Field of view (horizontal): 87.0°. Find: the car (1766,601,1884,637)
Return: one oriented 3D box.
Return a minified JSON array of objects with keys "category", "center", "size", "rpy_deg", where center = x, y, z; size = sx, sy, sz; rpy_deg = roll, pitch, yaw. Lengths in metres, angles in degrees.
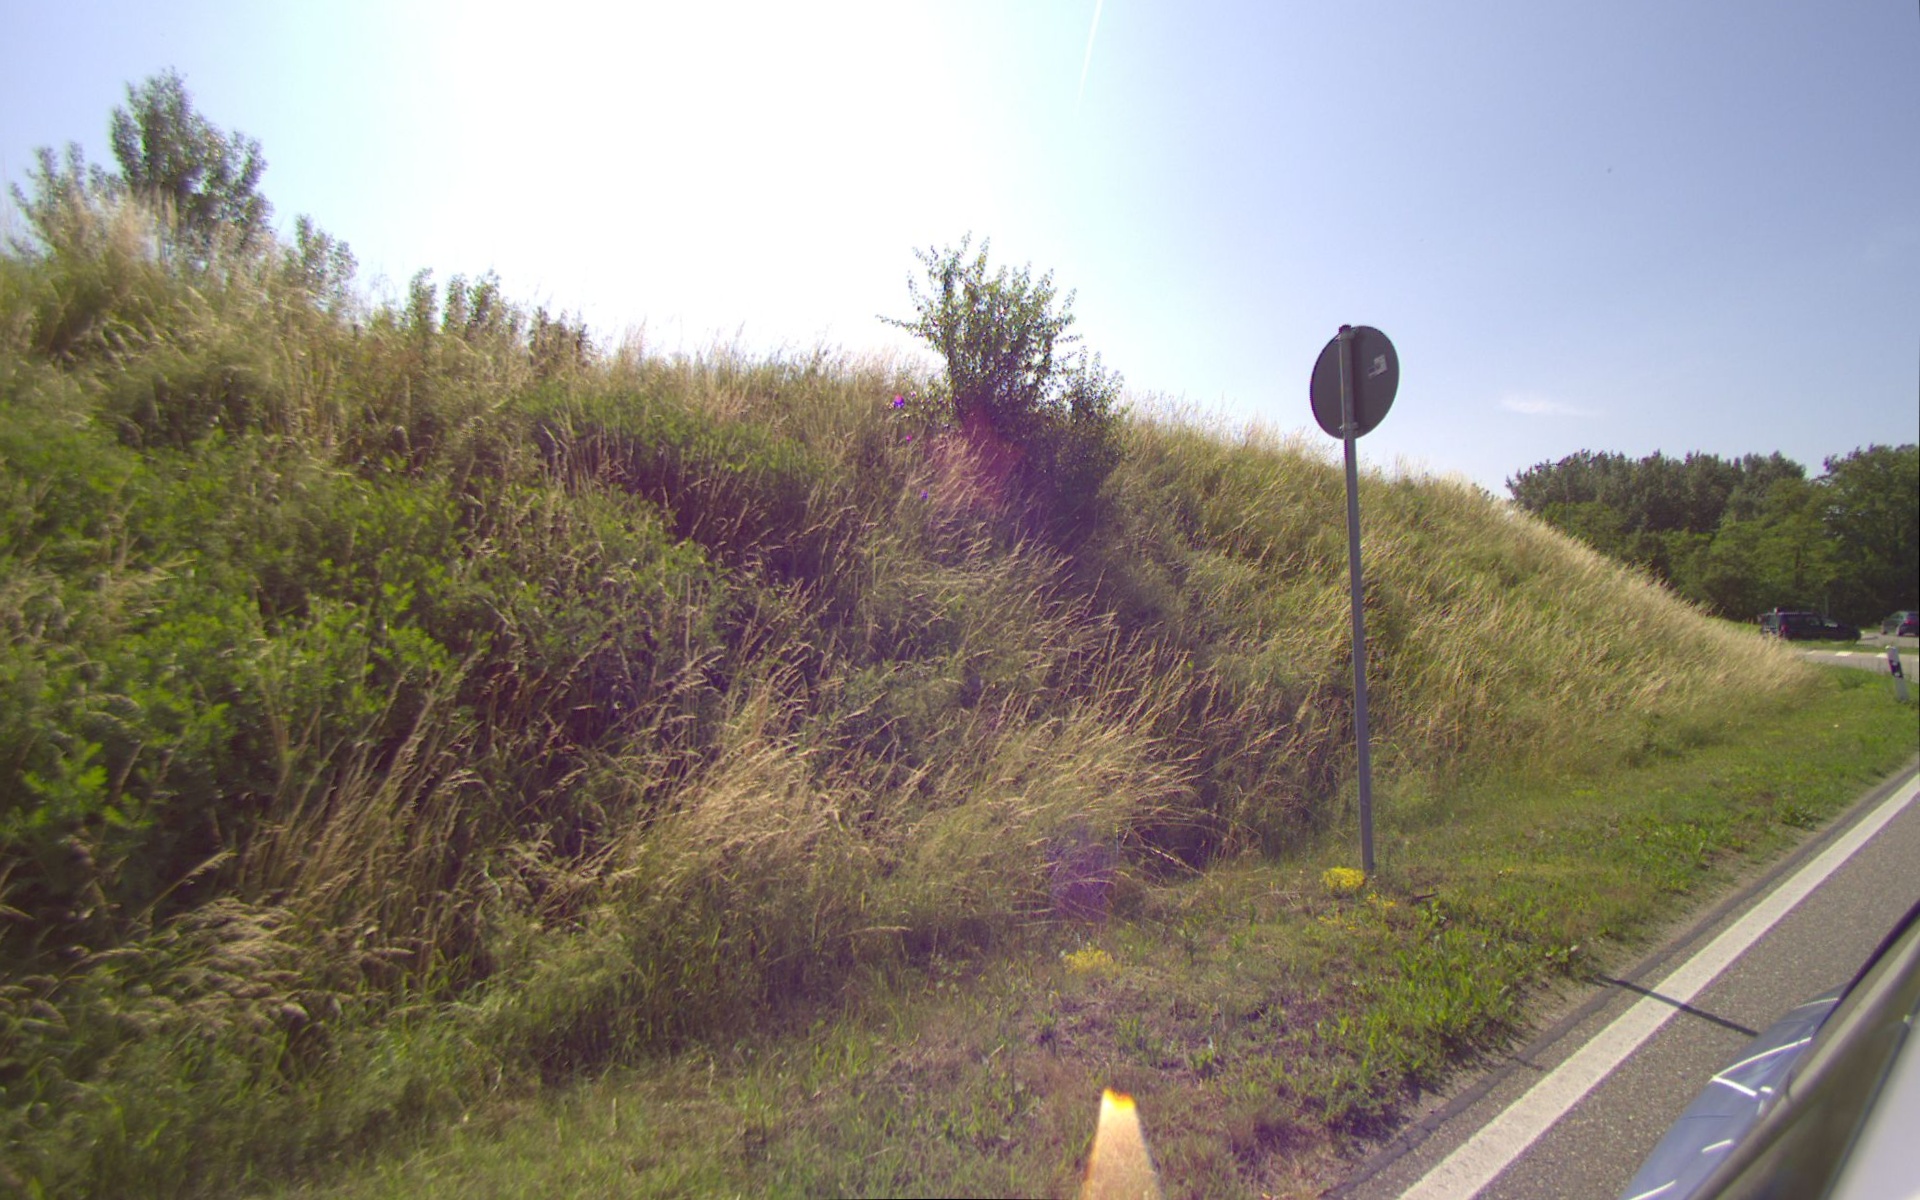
[{"category":"car","center":[43.840,0.965,51.388],"size":[4.274,1.677,1.705],"rpy_deg":[-1,-2,5]}]

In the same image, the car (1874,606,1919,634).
[{"category":"car","center":[56.309,1.160,60.271],"size":[1.799,1.508,4.630],"rpy_deg":[-2,0,30]}]
